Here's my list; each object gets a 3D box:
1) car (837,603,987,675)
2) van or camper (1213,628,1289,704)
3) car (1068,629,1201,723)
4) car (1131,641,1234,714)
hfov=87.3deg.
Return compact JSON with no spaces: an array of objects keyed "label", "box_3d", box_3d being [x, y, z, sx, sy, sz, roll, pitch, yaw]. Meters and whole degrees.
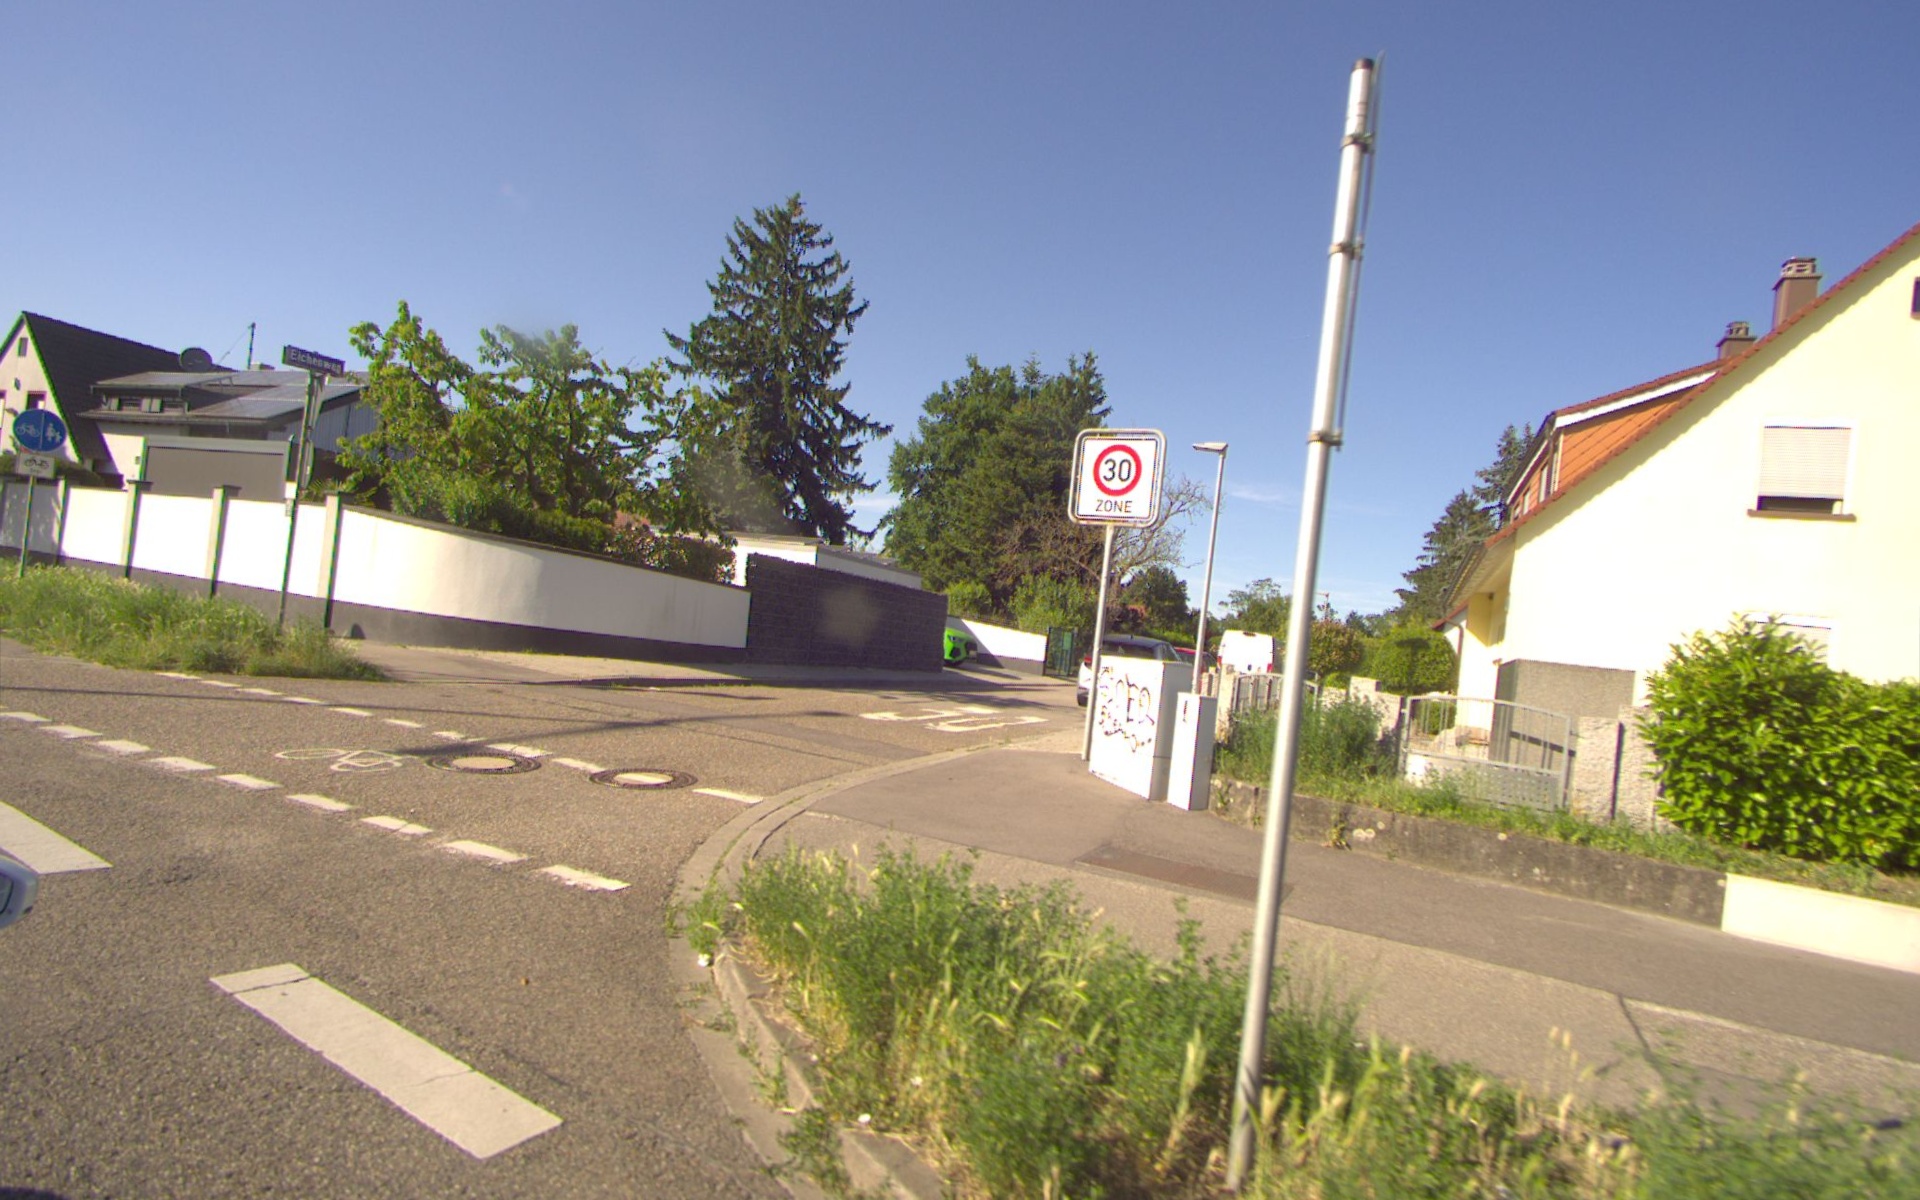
[{"label":"car","box_3d":[-1.409,1.133,29.360,3.928,1.600,1.592,6,-1,24]},{"label":"van or camper","box_3d":[11.362,2.582,39.025,1.964,2.544,4.910,6,-2,24]},{"label":"car","box_3d":[3.788,1.597,21.255,1.802,1.548,4.001,8,-1,22]},{"label":"car","box_3d":[5.946,2.050,26.550,1.690,1.548,4.000,8,-1,24]}]
